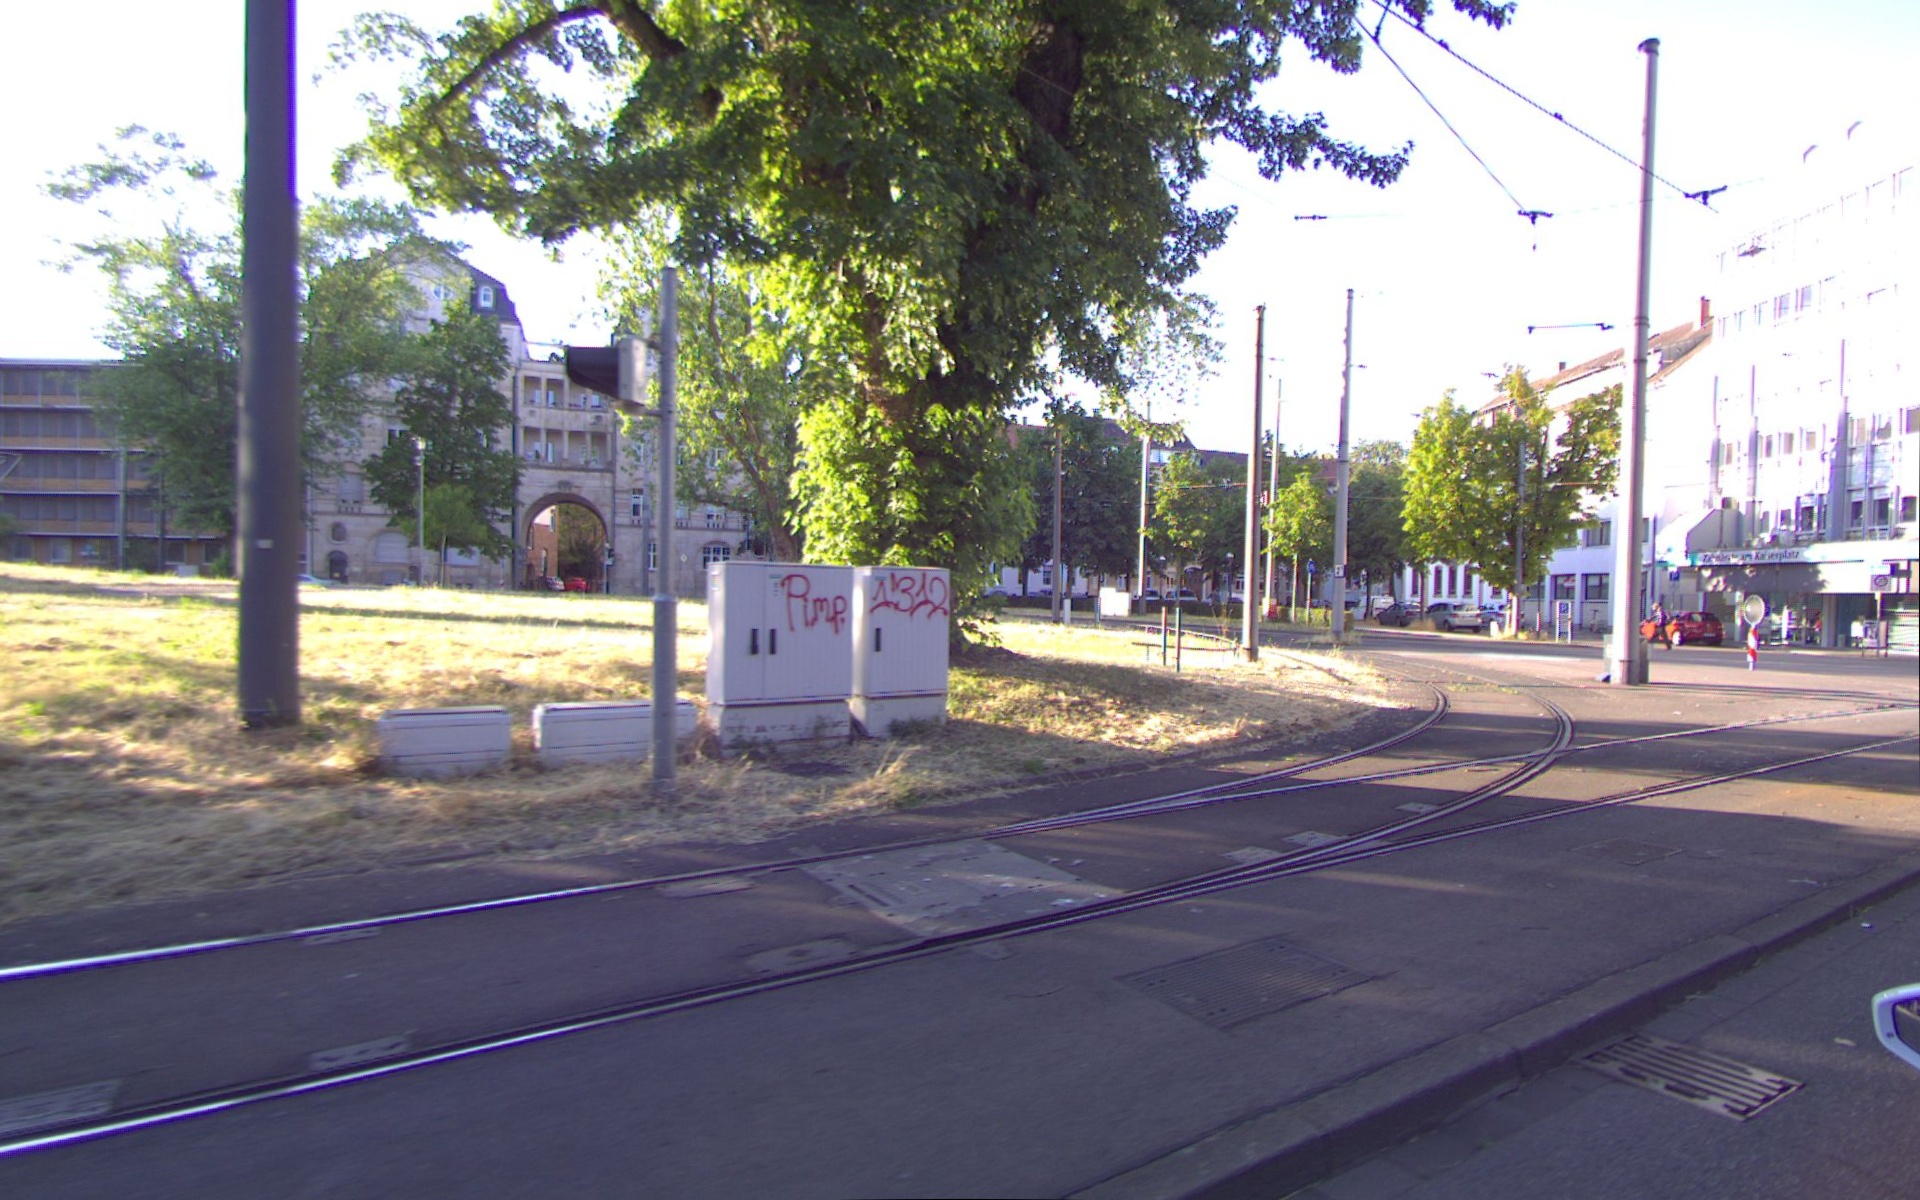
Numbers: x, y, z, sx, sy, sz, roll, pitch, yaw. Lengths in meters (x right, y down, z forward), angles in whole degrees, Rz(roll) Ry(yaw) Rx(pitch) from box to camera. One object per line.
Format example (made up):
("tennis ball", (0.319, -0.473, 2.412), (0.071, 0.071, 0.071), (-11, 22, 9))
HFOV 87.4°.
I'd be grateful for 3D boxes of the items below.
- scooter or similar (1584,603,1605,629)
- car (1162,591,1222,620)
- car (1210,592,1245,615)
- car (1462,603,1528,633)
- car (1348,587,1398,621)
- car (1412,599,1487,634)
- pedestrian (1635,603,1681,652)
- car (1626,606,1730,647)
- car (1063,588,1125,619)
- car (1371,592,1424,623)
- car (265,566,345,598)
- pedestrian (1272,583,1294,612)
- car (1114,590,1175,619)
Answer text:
("scooter or similar", (35.274, 0.878, 55.862), (0.741, 1.417, 1.925), (3, 2, 26))
("car", (17.556, 0.401, 76.021), (3.937, 2.041, 1.992), (2, 1, -18))
("car", (25.071, 0.273, 94.232), (1.962, 2.040, 3.997), (2, 1, -3))
("car", (31.383, 1.021, 59.031), (1.960, 1.550, 4.001), (2, 1, 5))
("car", (26.862, 0.241, 65.431), (1.959, 2.041, 4.002), (2, 1, 7))
("car", (26.644, 0.875, 54.823), (1.962, 1.706, 3.997), (2, 1, -3))
("pedestrian", (25.933, 1.014, 37.329), (1.140, 1.725, 0.907), (2, 1, 19))
("car", (31.036, 1.114, 43.556), (1.986, 1.505, 4.002), (2, 1, 8))
("car", (9.790, 0.246, 73.349), (3.937, 2.041, 1.992), (2, 1, -18))
("car", (31.368, 0.516, 72.135), (1.961, 2.040, 3.999), (2, 1, 0))
("car", (-40.032, -1.104, 61.410), (3.920, 1.818, 2.000), (2, 2, 16))
("pedestrian", (23.737, -0.193, 73.873), (1.097, 2.041, 1.466), (2, 1, 3))
("car", (13.704, 0.329, 74.709), (3.937, 2.041, 1.992), (2, 1, -18))
